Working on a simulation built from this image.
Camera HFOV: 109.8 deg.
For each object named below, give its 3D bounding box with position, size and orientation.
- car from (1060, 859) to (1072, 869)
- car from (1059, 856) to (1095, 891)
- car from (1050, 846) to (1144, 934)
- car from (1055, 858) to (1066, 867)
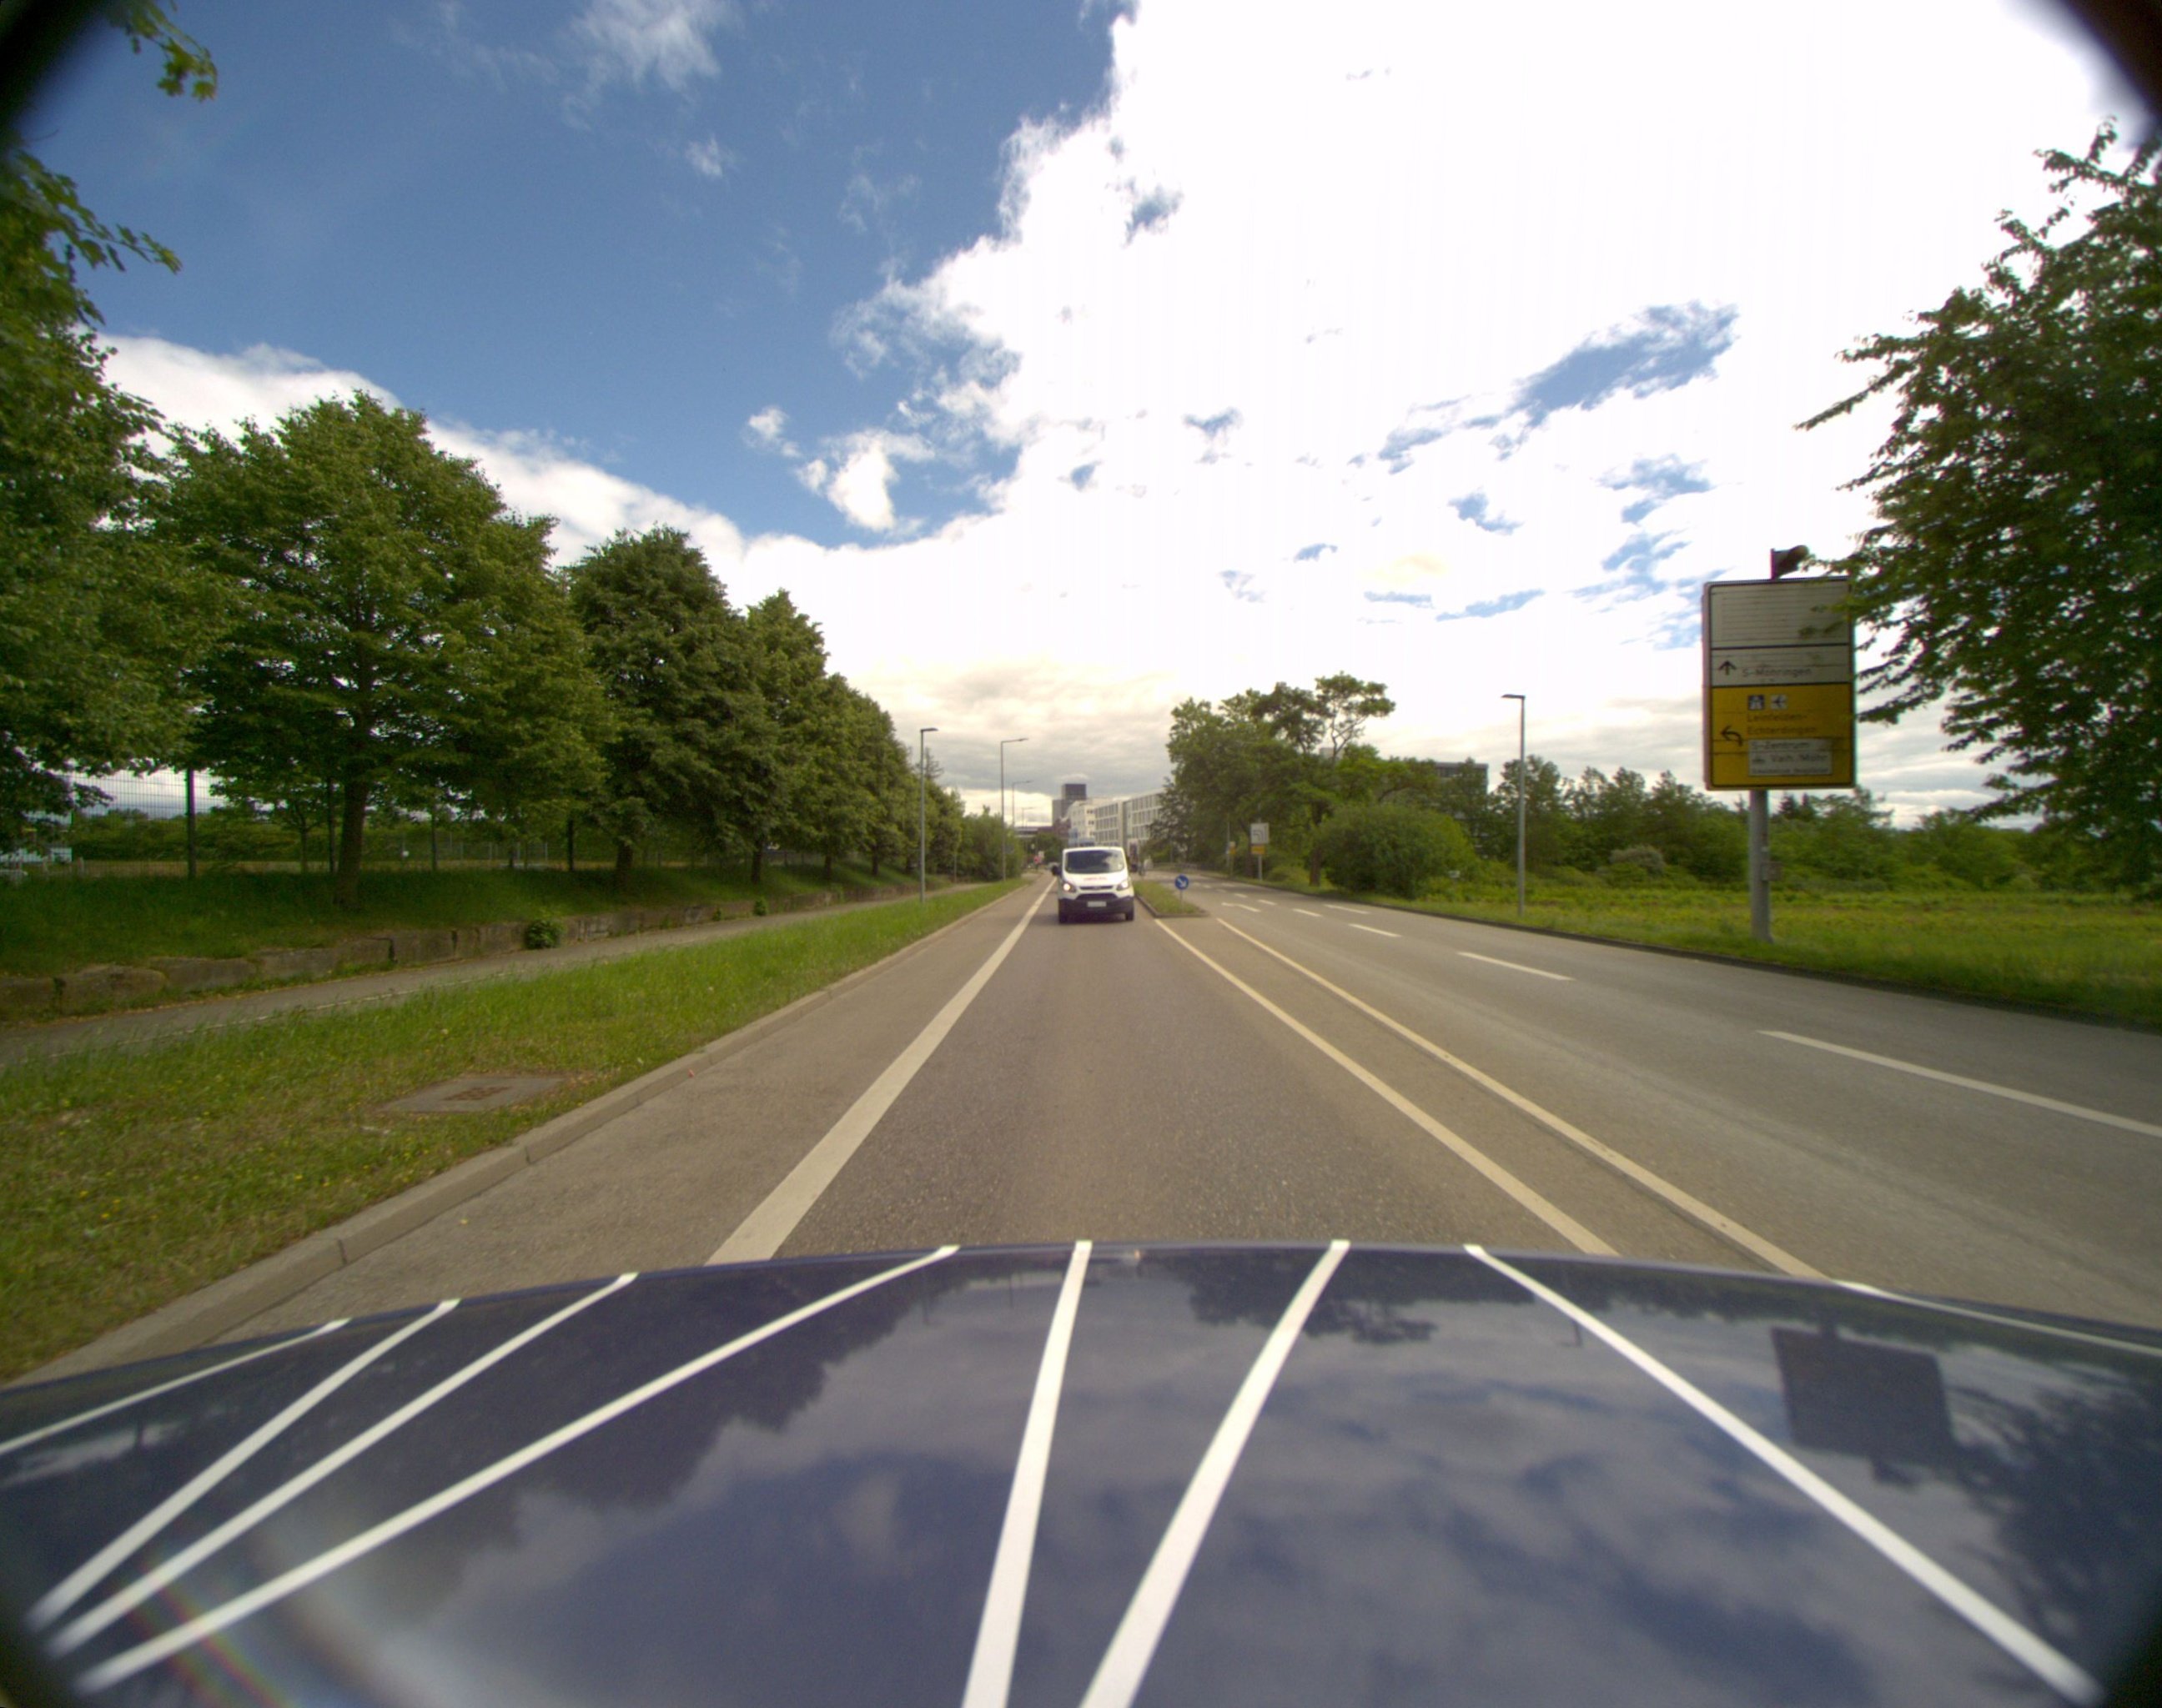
[{"bbox_3d":[-2.854,1.814,141.922,1.873,1.685,4.370,-2,0,-4],"label":"car"},{"bbox_3d":[-0.229,1.071,43.007,1.872,1.836,4.371,-2,0,0],"label":"car"},{"bbox_3d":[0.305,0.854,20.766,2.122,1.963,6.206,-2,0,-1],"label":"car"},{"bbox_3d":[-4.218,1.761,153.212,1.873,1.685,4.369,-2,0,-5],"label":"car"}]
